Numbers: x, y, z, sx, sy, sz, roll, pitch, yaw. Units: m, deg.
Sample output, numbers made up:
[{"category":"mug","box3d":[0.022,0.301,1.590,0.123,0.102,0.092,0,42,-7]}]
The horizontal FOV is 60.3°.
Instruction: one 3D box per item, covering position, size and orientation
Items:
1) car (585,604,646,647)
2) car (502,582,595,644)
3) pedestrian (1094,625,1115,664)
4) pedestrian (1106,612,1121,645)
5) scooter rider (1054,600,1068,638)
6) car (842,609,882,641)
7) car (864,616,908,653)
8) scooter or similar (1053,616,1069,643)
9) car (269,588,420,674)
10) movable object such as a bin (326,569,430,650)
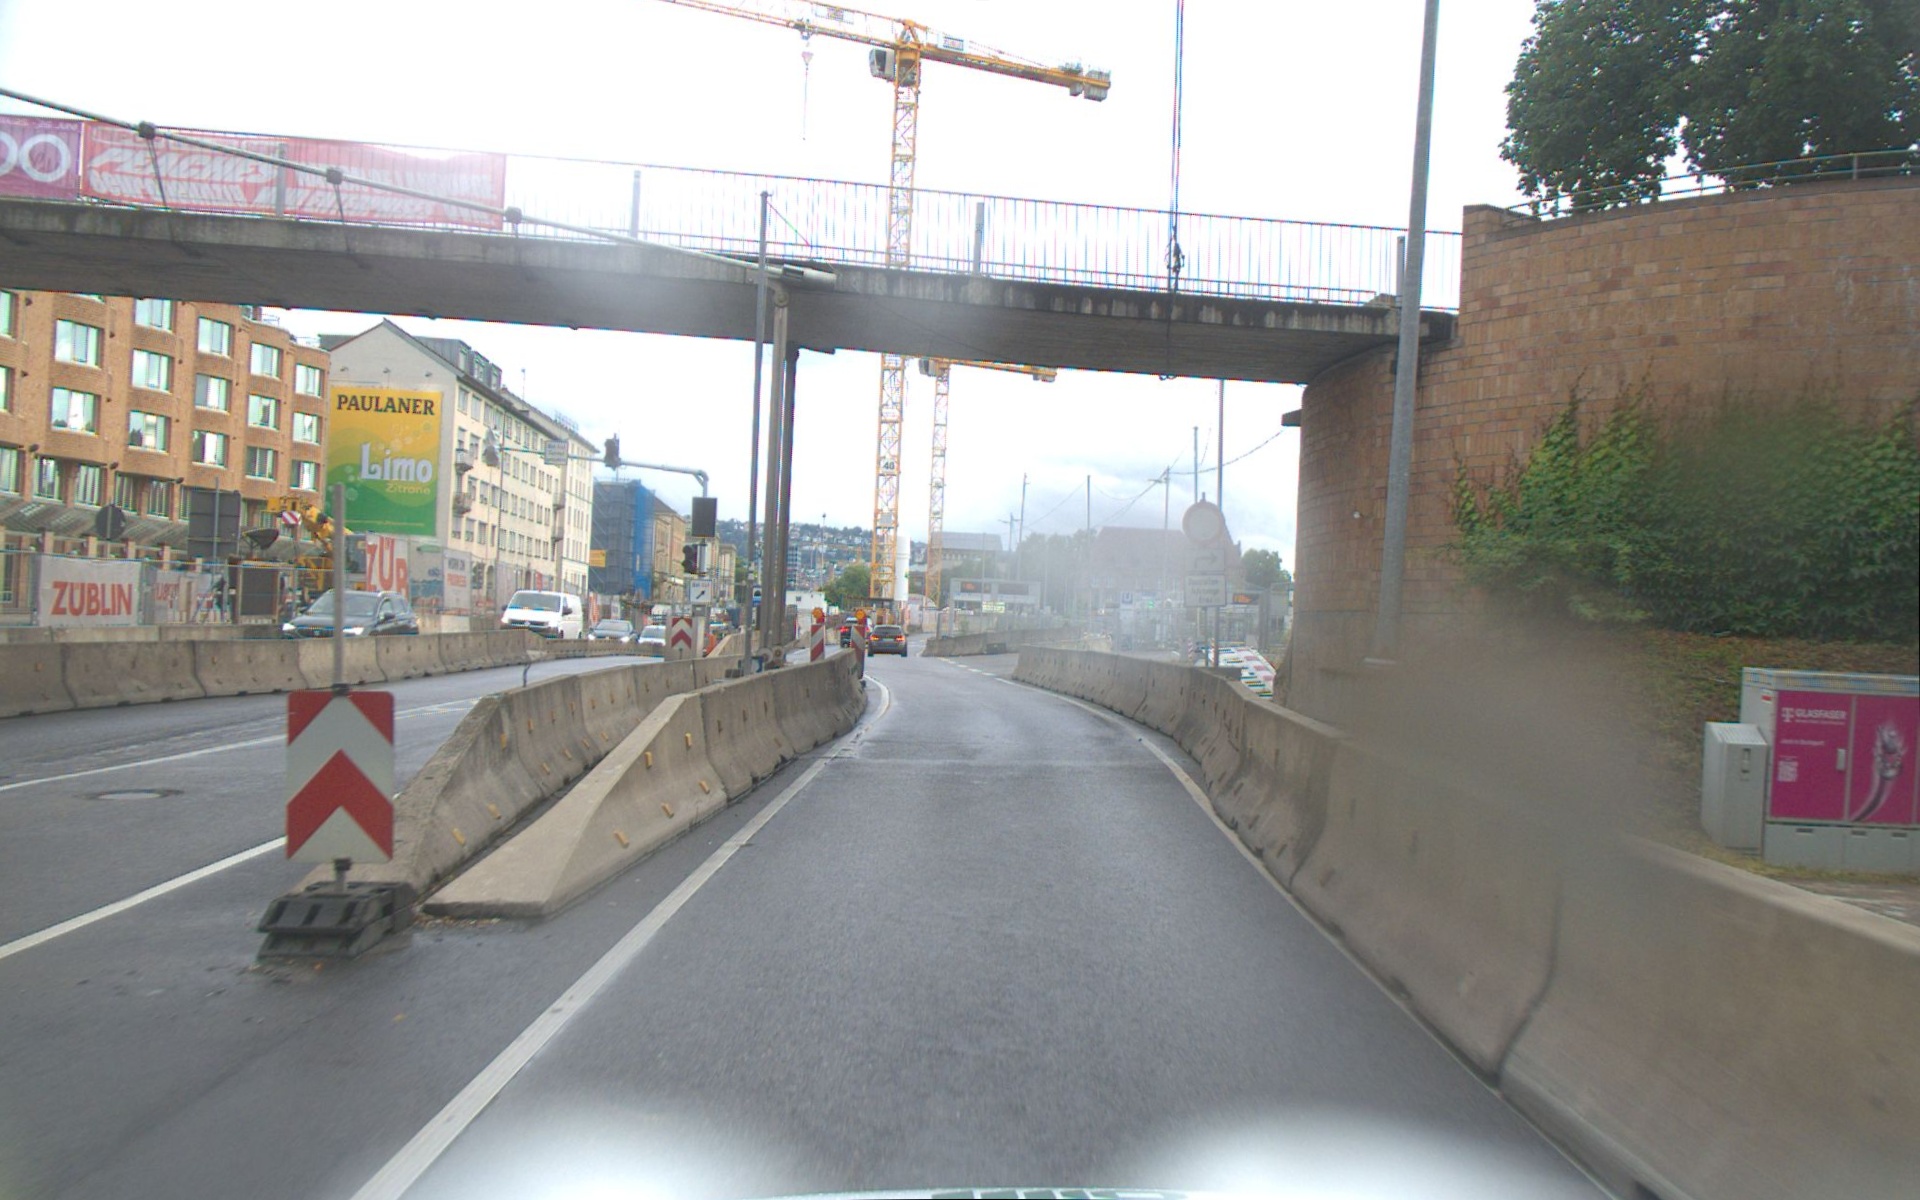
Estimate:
[{"category":"car","box3d":[-14.543,1.063,70.014,1.769,1.651,4.033,2,1,-1]},{"category":"car","box3d":[-13.384,0.375,54.079,1.769,1.853,5.300,2,1,-1]},{"category":"pedestrian","box3d":[6.791,2.095,77.581,0.679,1.809,0.810,2,-1,-21]},{"category":"pedestrian","box3d":[8.287,1.539,89.423,0.676,1.809,1.022,1,-1,-3]},{"category":"scooter rider","box3d":[4.739,0.876,77.442,0.510,1.786,0.700,1,0,16]},{"category":"car","box3d":[-5.598,1.418,95.006,1.824,1.689,4.657,2,0,1]},{"category":"car","box3d":[-3.367,1.546,74.650,1.826,1.458,4.652,2,0,-4]},{"category":"scooter or similar","box3d":[4.728,1.373,77.444,0.480,1.200,1.096,1,0,16]},{"category":"car","box3d":[-13.079,0.608,35.380,1.769,1.651,3.903,2,1,-1]},{"category":"movable object such as a bin","box3d":[-17.619,0.273,50.256,1.987,2.317,4.287,-1,0,-6]}]
